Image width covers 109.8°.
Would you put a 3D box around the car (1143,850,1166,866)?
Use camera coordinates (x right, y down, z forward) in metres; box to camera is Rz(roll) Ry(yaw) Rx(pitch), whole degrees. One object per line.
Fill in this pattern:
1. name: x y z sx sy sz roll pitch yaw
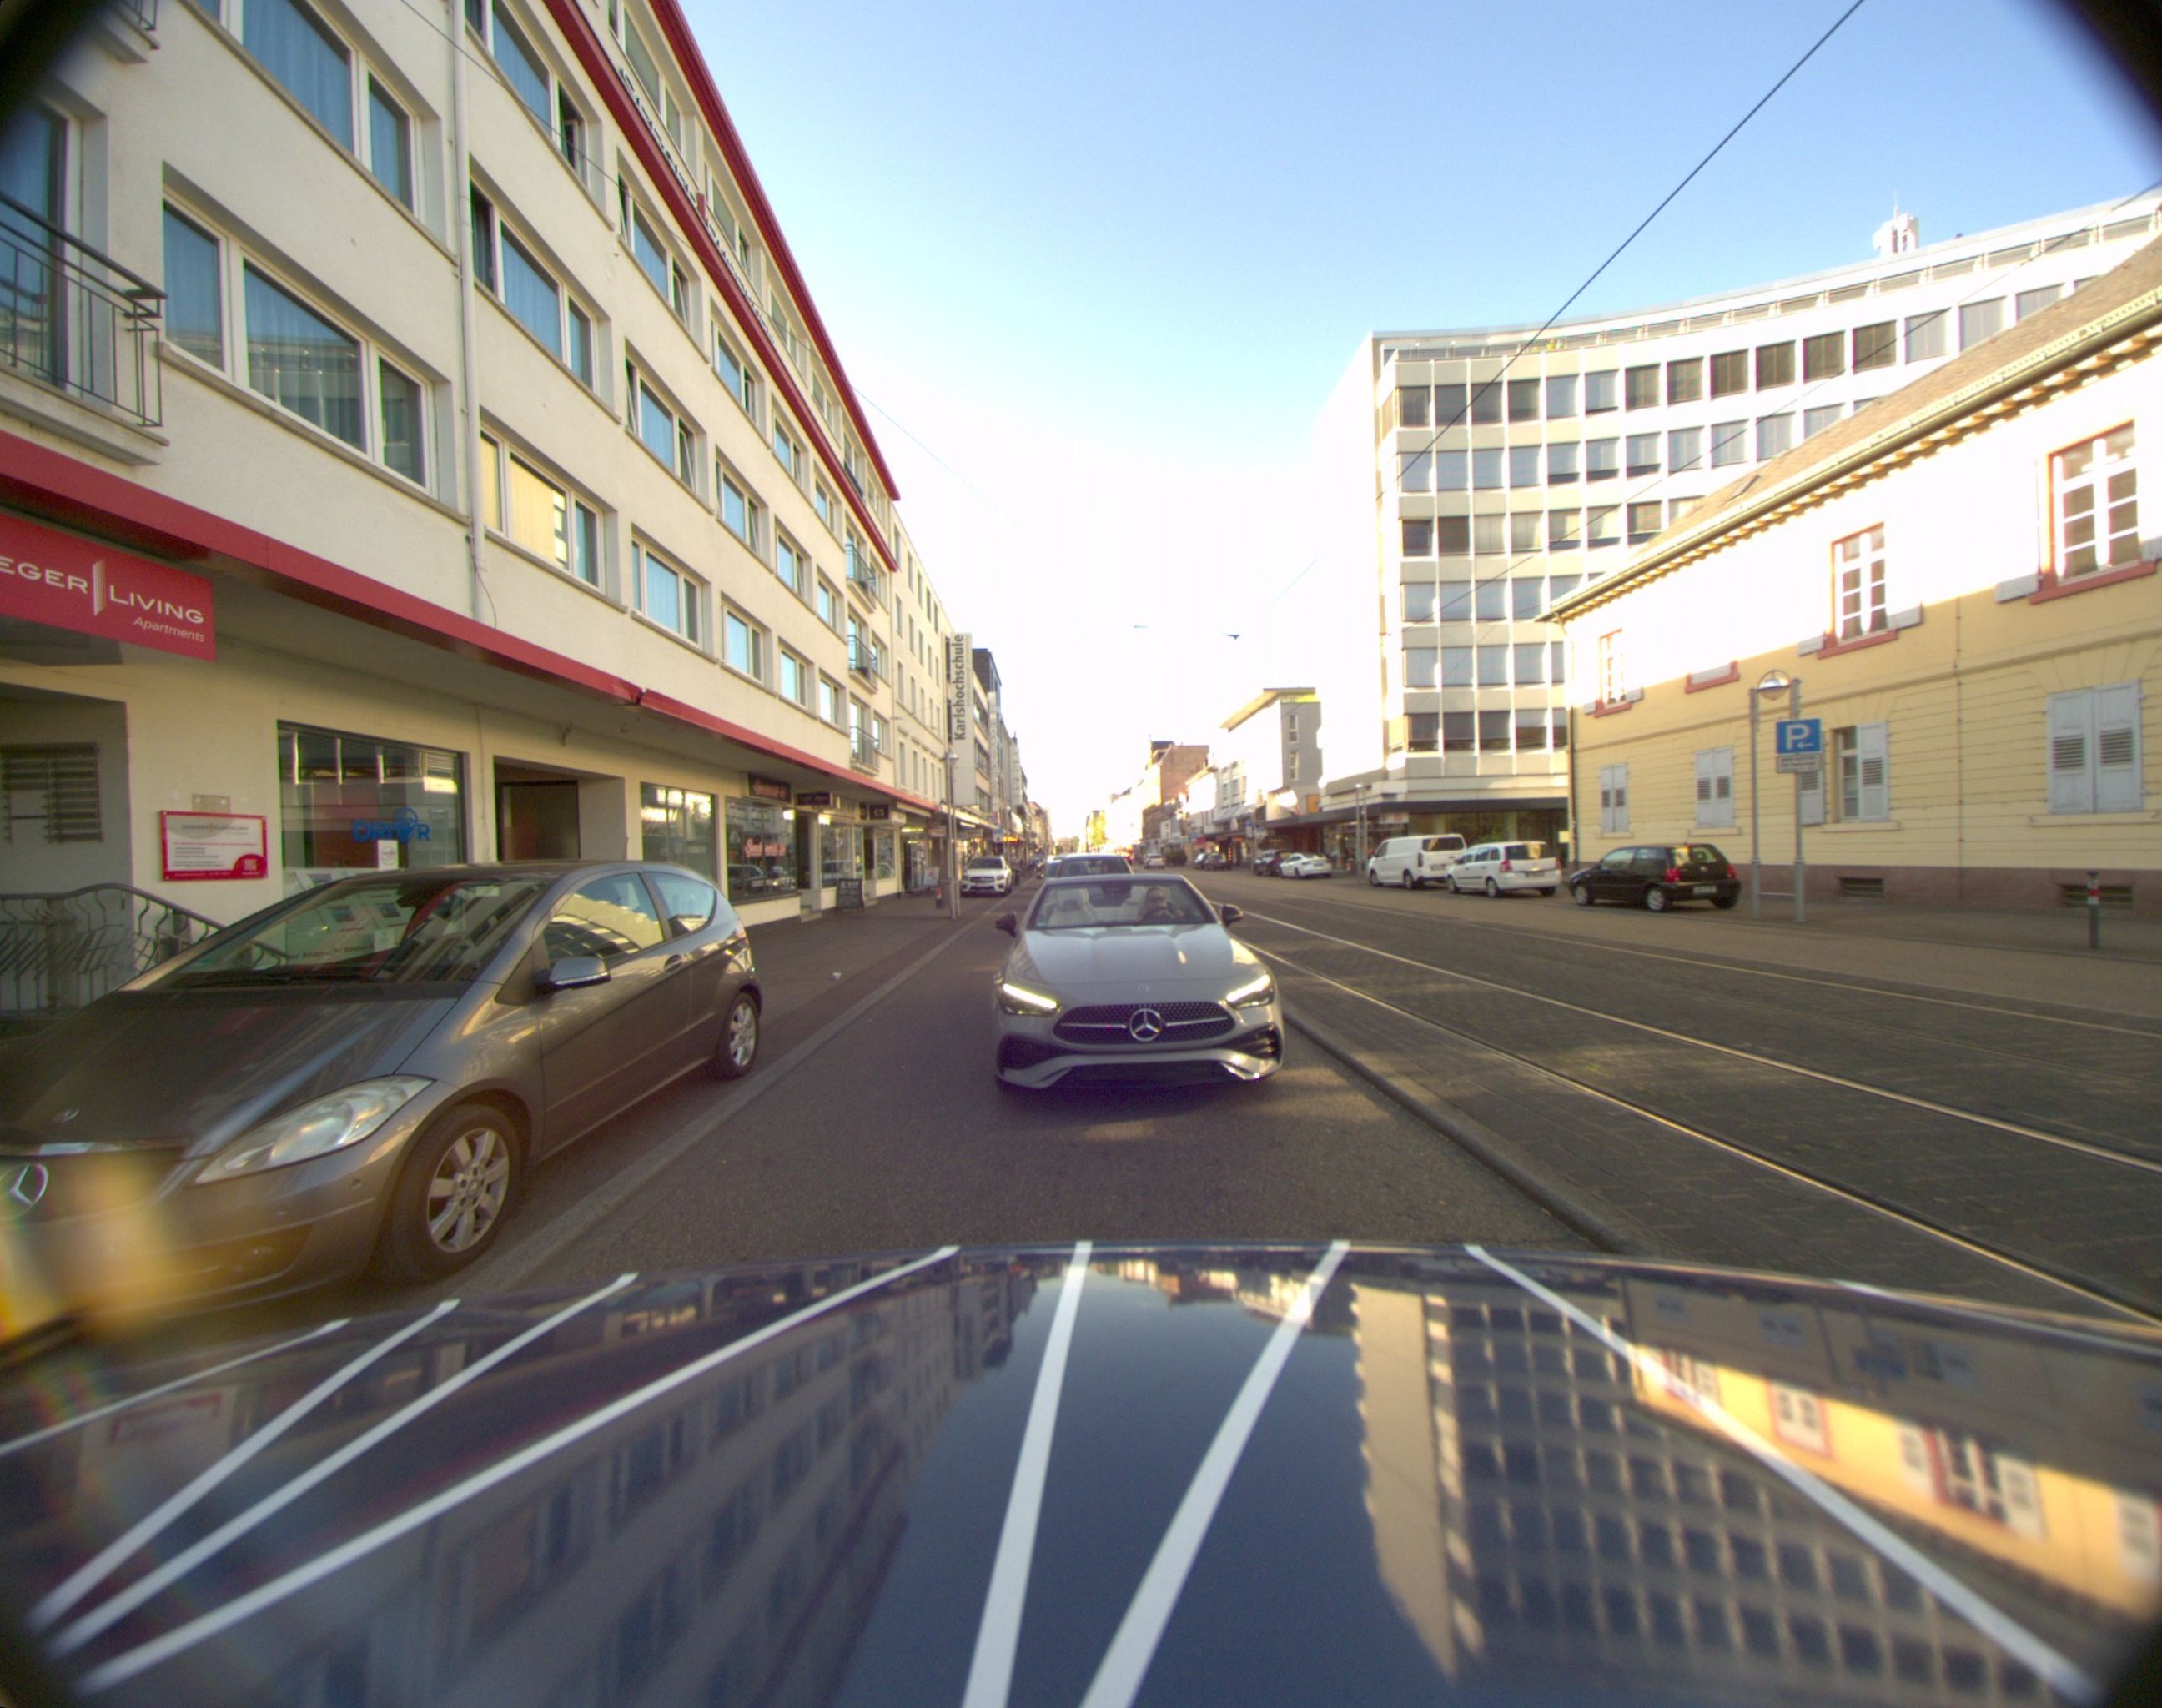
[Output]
1. car: 7.660 0.421 79.330 1.760 1.587 3.999 -1 0 -2

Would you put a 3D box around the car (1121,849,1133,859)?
1. car: 9.536 -0.077 157.345 1.999 2.002 3.999 -1 0 -2

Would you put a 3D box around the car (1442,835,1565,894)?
1. car: 12.732 0.270 23.168 1.641 1.600 4.005 -2 1 3

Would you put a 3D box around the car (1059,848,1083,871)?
1. car: -0.871 0.454 66.251 1.999 1.793 3.999 -2 1 -1

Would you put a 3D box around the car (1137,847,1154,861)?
1. car: 10.368 -0.002 121.903 1.999 2.002 5.320 -1 0 -2

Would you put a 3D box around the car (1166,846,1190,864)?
1. car: 11.471 0.114 90.374 2.200 2.030 3.999 -1 0 -1

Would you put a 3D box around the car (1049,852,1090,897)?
1. car: -0.505 0.804 31.926 1.573 1.670 3.688 -2 1 -1

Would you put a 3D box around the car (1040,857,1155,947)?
1. car: 0.191 0.859 15.551 1.927 1.533 3.998 -2 0 -4

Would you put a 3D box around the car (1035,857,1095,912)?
1. car: -0.495 0.873 23.416 1.648 1.506 3.844 -2 0 -1

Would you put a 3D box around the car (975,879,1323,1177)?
1. car: 0.248 1.011 6.170 1.884 1.375 3.998 -2 1 -4

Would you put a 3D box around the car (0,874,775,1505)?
1. car: -3.240 0.951 3.967 1.683 1.537 3.999 -2 0 -1

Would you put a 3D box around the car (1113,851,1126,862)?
1. car: 6.958 0.399 138.327 1.914 1.883 3.855 -2 1 -2

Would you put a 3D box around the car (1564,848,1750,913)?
1. car: 12.800 0.530 17.139 1.688 1.246 3.212 -2 1 -1

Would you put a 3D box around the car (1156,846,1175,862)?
1. car: 11.162 0.036 100.473 1.998 2.002 4.000 -1 0 1

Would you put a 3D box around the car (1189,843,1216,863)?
1. car: 11.791 -0.077 74.020 1.789 1.870 3.999 -1 0 -2

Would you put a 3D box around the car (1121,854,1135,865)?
1. car: 7.273 0.810 117.132 1.964 1.499 4.000 -2 1 4

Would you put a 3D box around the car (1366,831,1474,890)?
1. car: 12.678 0.232 28.780 2.040 2.002 4.621 -1 0 1

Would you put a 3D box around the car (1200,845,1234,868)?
1. car: 11.679 0.159 65.634 1.999 1.849 3.998 -2 1 -2

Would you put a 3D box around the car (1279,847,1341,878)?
1. car: 12.637 0.421 42.247 1.999 1.521 4.373 -2 1 -1

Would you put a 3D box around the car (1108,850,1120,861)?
1. car: 6.610 0.277 150.687 1.999 2.002 3.998 -2 1 -2

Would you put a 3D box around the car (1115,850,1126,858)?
1. car: 9.093 -0.046 176.647 2.148 1.850 3.998 -2 1 -2

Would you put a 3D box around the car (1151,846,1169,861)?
1. car: 11.551 -0.104 111.454 1.999 2.002 3.998 -2 1 -2

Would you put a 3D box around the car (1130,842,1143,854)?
1. car: 9.839 -1.081 134.524 1.998 2.002 3.999 -2 1 0

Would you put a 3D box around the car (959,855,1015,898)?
1. car: -3.850 0.890 31.710 1.999 1.620 3.998 -1 0 -4

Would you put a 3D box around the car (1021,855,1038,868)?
1. car: -6.039 0.856 88.880 1.714 1.430 3.756 -2 1 -1

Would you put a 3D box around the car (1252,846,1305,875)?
1. car: 12.325 0.363 47.676 1.999 1.694 4.107 -3 1 -2
